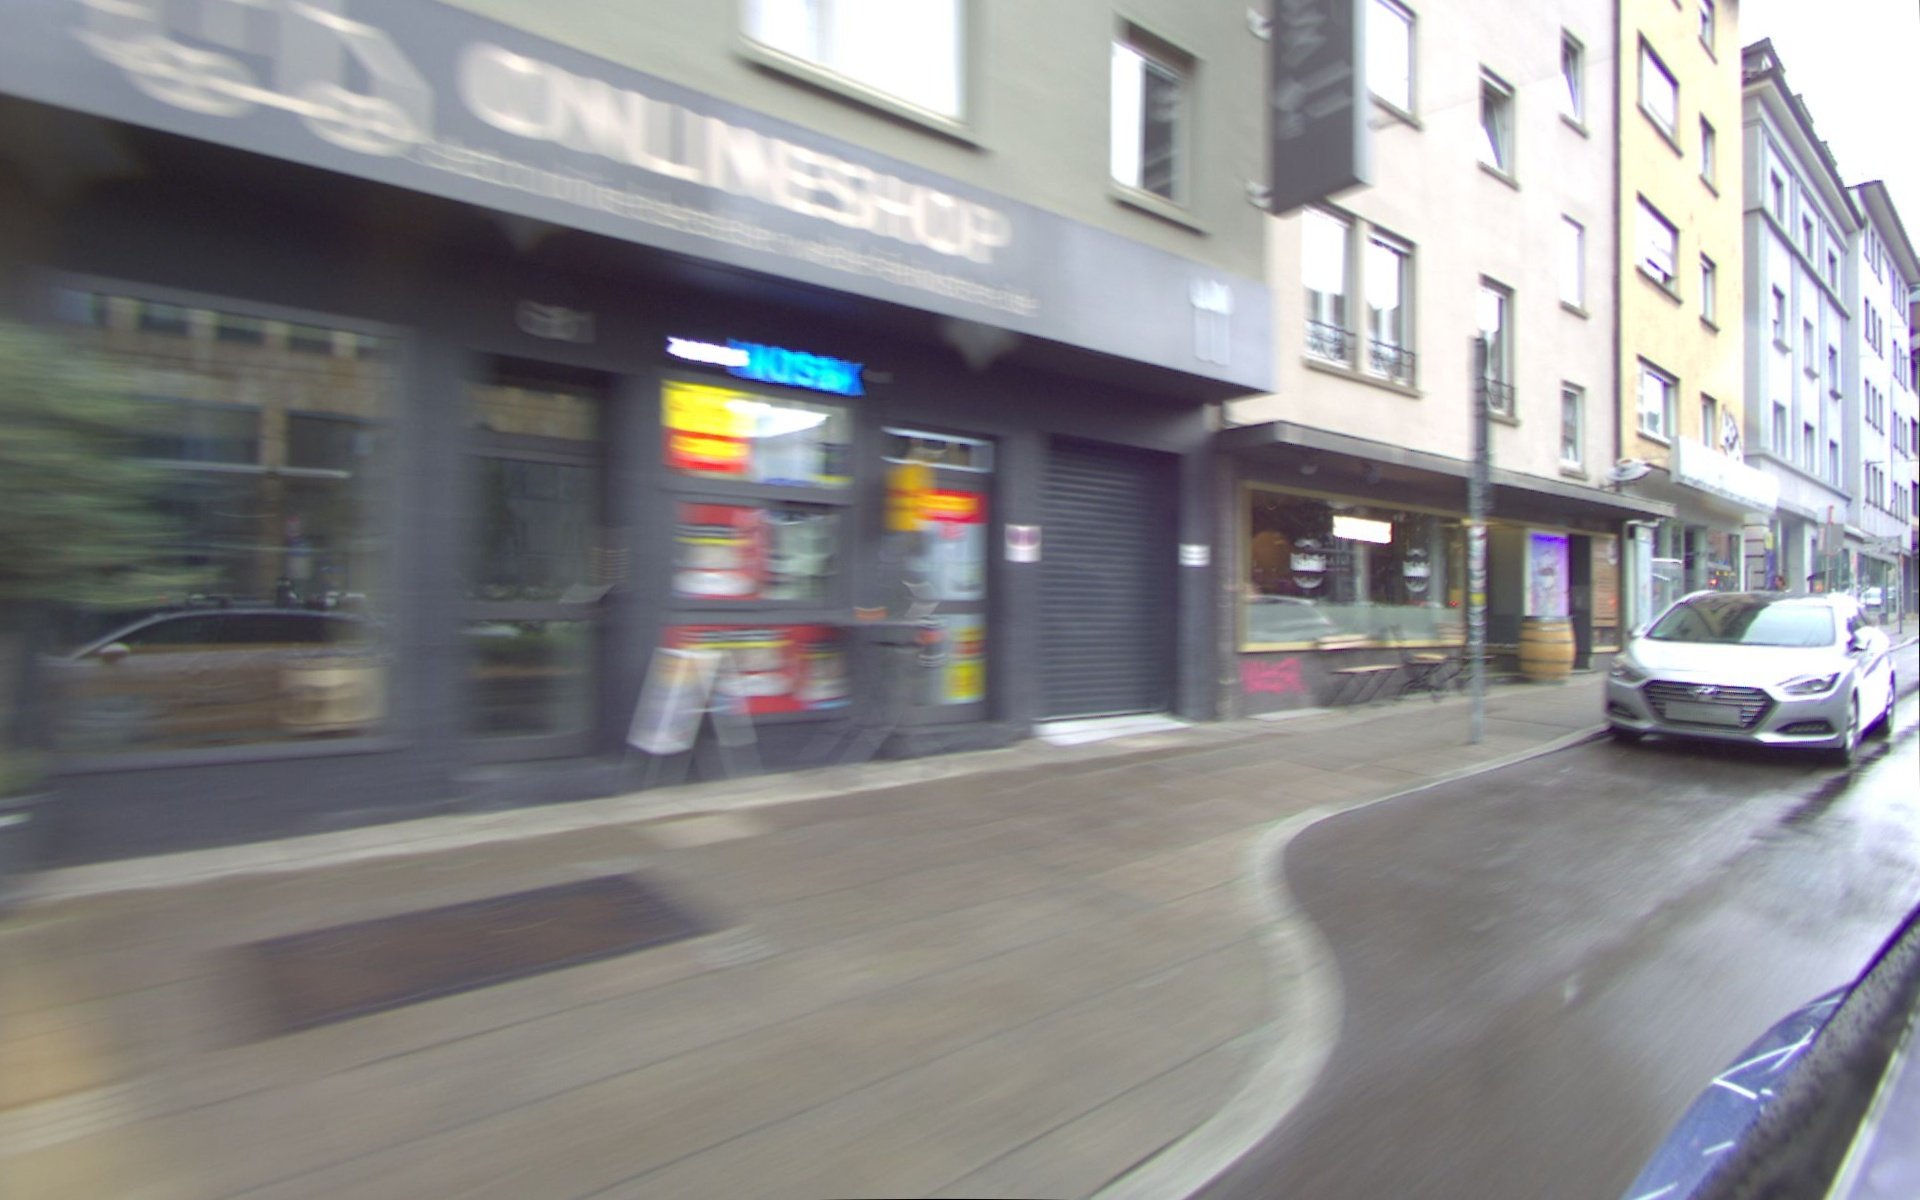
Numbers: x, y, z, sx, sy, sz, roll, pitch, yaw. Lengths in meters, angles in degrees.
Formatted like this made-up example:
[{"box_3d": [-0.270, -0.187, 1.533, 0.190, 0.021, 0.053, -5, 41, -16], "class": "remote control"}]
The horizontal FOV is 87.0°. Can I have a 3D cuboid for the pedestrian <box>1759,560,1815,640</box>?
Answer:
[{"box_3d": [17.832, 0.007, 21.815, 0.708, 1.680, 0.792, 0, -1, -41], "class": "pedestrian"}]

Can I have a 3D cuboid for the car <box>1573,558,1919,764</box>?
[{"box_3d": [8.086, 0.442, 10.221, 4.542, 1.614, 2.027, -1, 1, -42], "class": "car"}]
